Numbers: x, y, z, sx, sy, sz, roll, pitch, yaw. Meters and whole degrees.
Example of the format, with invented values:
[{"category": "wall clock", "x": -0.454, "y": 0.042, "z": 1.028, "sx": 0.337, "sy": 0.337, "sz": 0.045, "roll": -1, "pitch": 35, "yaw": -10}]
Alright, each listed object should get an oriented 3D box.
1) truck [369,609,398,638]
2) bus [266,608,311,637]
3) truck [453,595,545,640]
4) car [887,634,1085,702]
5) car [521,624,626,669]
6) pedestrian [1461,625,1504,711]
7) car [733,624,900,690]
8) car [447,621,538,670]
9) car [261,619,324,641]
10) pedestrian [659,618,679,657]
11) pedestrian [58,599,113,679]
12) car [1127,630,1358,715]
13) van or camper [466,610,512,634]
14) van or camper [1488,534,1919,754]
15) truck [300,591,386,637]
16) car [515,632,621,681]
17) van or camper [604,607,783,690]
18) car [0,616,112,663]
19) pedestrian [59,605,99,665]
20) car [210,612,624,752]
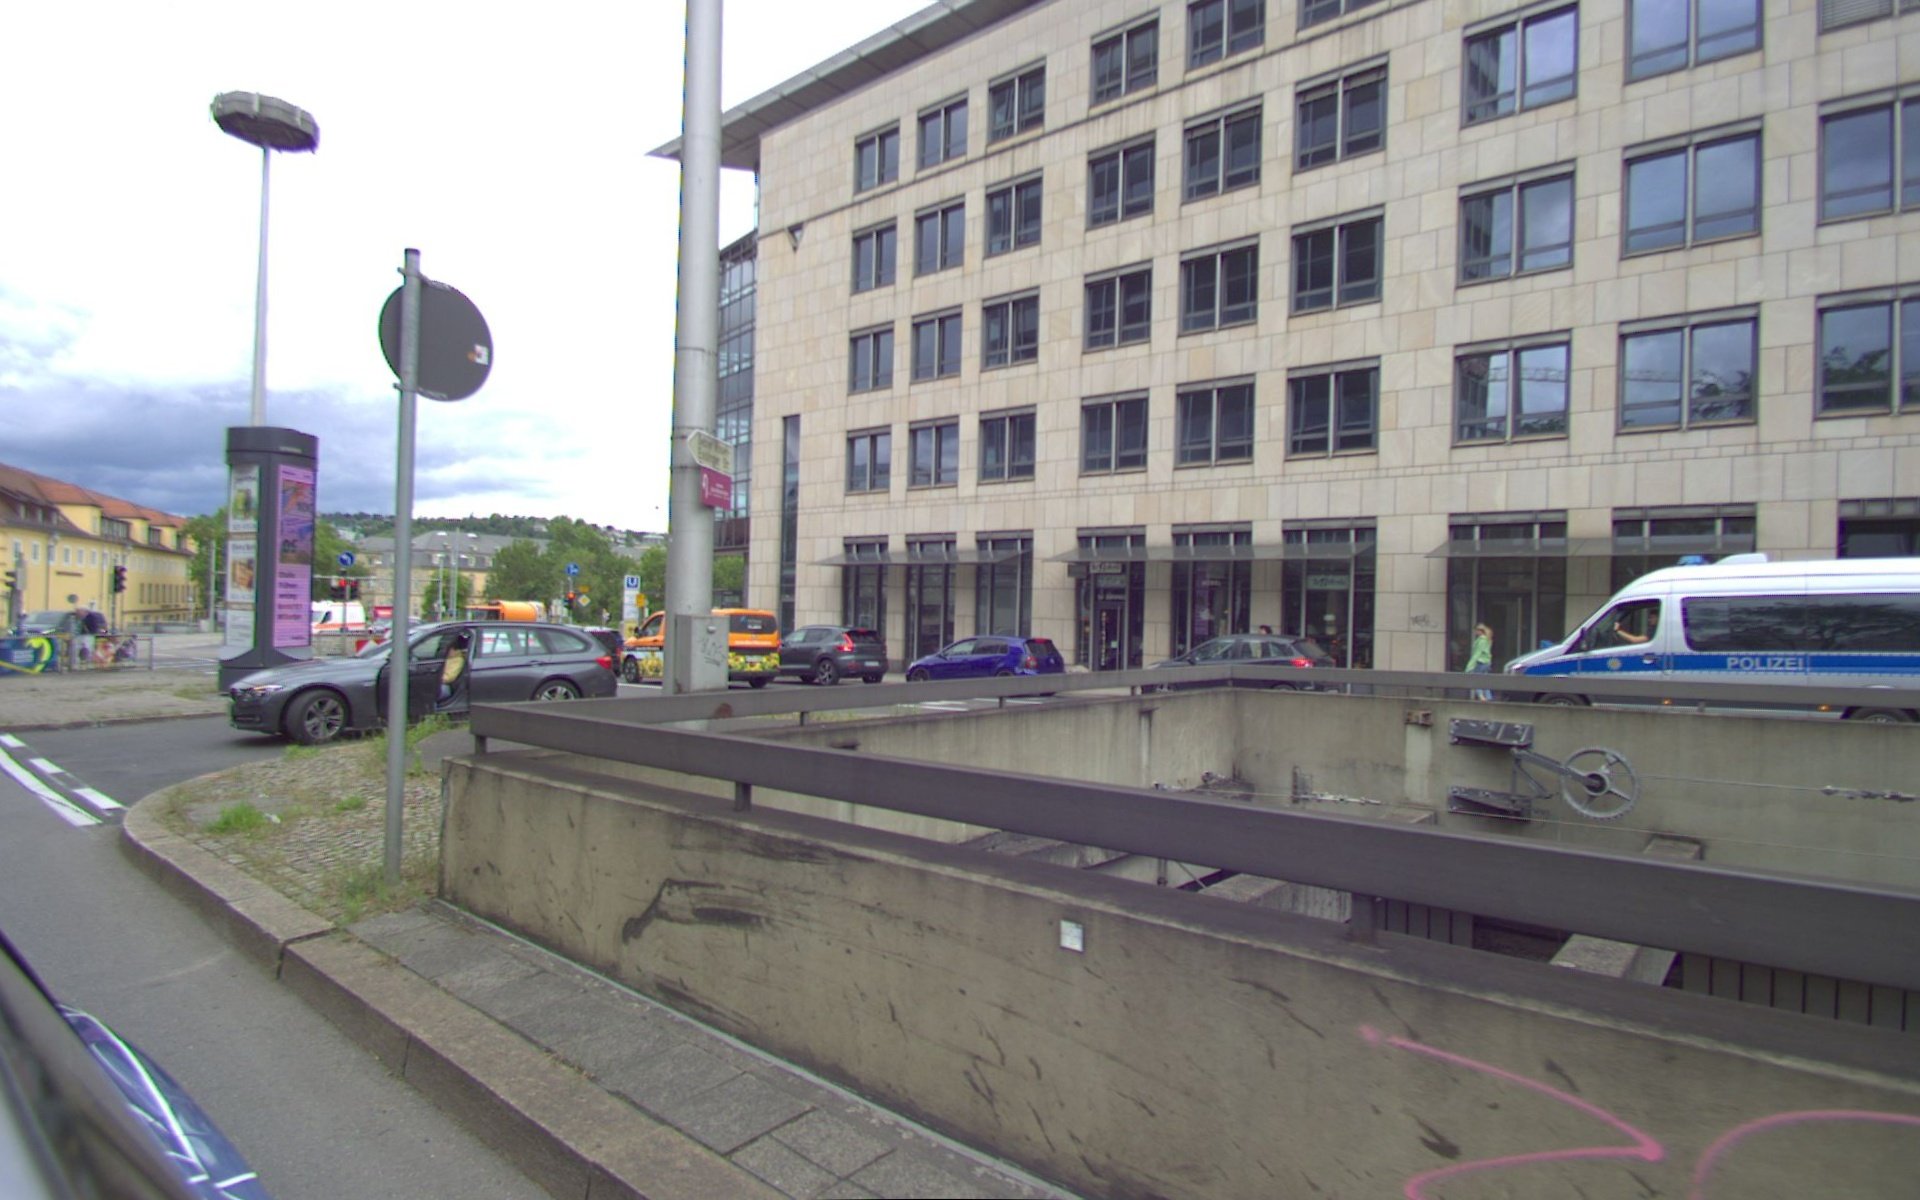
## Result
[{"category": "truck", "x": -72.391, "y": 2.953, "z": 127.096, "sx": 2.744, "sy": 3.516, "sz": 8.376, "roll": 2, "pitch": -3, "yaw": -28}, {"category": "bus", "x": -78.127, "y": 2.672, "z": 117.996, "sx": 3.376, "sy": 3.228, "sz": 13.103, "roll": 1, "pitch": -2, "yaw": -29}, {"category": "truck", "x": -40.522, "y": 1.647, "z": 89.415, "sx": 2.698, "sy": 3.644, "sz": 9.149, "roll": -1, "pitch": -3, "yaw": 10}, {"category": "car", "x": 0.537, "y": 1.539, "z": 24.114, "sx": 4.572, "sy": 1.406, "sz": 1.972, "roll": -1, "pitch": -2, "yaw": 43}, {"category": "car", "x": -14.150, "y": 1.669, "z": 36.926, "sx": 4.091, "sy": 1.537, "sz": 1.972, "roll": -1, "pitch": -2, "yaw": 43}, {"category": "pedestrian", "x": 10.112, "y": 1.295, "z": 19.588, "sx": 0.627, "sy": 1.636, "sz": 0.494, "roll": -1, "pitch": -2, "yaw": 41}, {"category": "car", "x": -4.042, "y": 1.544, "z": 28.061, "sx": 4.681, "sy": 1.658, "sz": 1.972, "roll": -1, "pitch": -4, "yaw": 41}, {"category": "car", "x": -16.394, "y": 1.555, "z": 35.381, "sx": 1.713, "sy": 1.611, "sz": 4.325, "roll": 2, "pitch": -2, "yaw": -41}, {"category": "car", "x": -49.202, "y": 2.201, "z": 74.616, "sx": 3.748, "sy": 1.588, "sz": 2.004, "roll": 2, "pitch": -2, "yaw": -37}, {"category": "pedestrian", "x": -12.654, "y": 1.605, "z": 43.984, "sx": 0.643, "sy": 1.625, "sz": 0.969, "roll": 1, "pitch": 1, "yaw": -26}, {"category": "pedestrian", "x": -24.482, "y": 1.085, "z": 28.331, "sx": 0.758, "sy": 2.189, "sz": 0.872, "roll": 0, "pitch": -2, "yaw": 23}, {"category": "car", "x": 5.508, "y": 1.378, "z": 19.984, "sx": 4.029, "sy": 1.460, "sz": 1.750, "roll": -1, "pitch": -4, "yaw": 41}, {"category": "van or camper", "x": -53.189, "y": 2.534, "z": 114.399, "sx": 2.118, "sy": 2.496, "sz": 6.157, "roll": 1, "pitch": -2, "yaw": 2}, {"category": "van or camper", "x": 11.627, "y": 0.603, "z": 14.989, "sx": 6.243, "sy": 2.747, "sz": 2.970, "roll": -1, "pitch": -2, "yaw": 42}, {"category": "truck", "x": -40.295, "y": 0.998, "z": 66.294, "sx": 1.930, "sy": 2.805, "sz": 5.785, "roll": 1, "pitch": -2, "yaw": 2}, {"category": "car", "x": -11.933, "y": 1.692, "z": 30.721, "sx": 3.632, "sy": 1.390, "sz": 1.539, "roll": -1, "pitch": -4, "yaw": 43}, {"category": "van or camper", "x": -6.926, "y": 1.206, "z": 25.973, "sx": 5.081, "sy": 1.936, "sz": 1.893, "roll": -1, "pitch": -4, "yaw": 41}, {"category": "car", "x": -42.322, "y": 1.817, "z": 47.286, "sx": 1.832, "sy": 2.003, "sz": 4.649, "roll": 2, "pitch": -2, "yaw": -7}, {"category": "pedestrian", "x": -27.354, "y": 1.090, "z": 31.420, "sx": 0.634, "sy": 1.804, "sz": 0.708, "roll": -3, "pitch": -7, "yaw": 41}, {"category": "car", "x": -6.981, "y": 0.932, "z": 13.290, "sx": 4.494, "sy": 1.469, "sz": 1.884, "roll": 0, "pitch": -1, "yaw": -41}]
